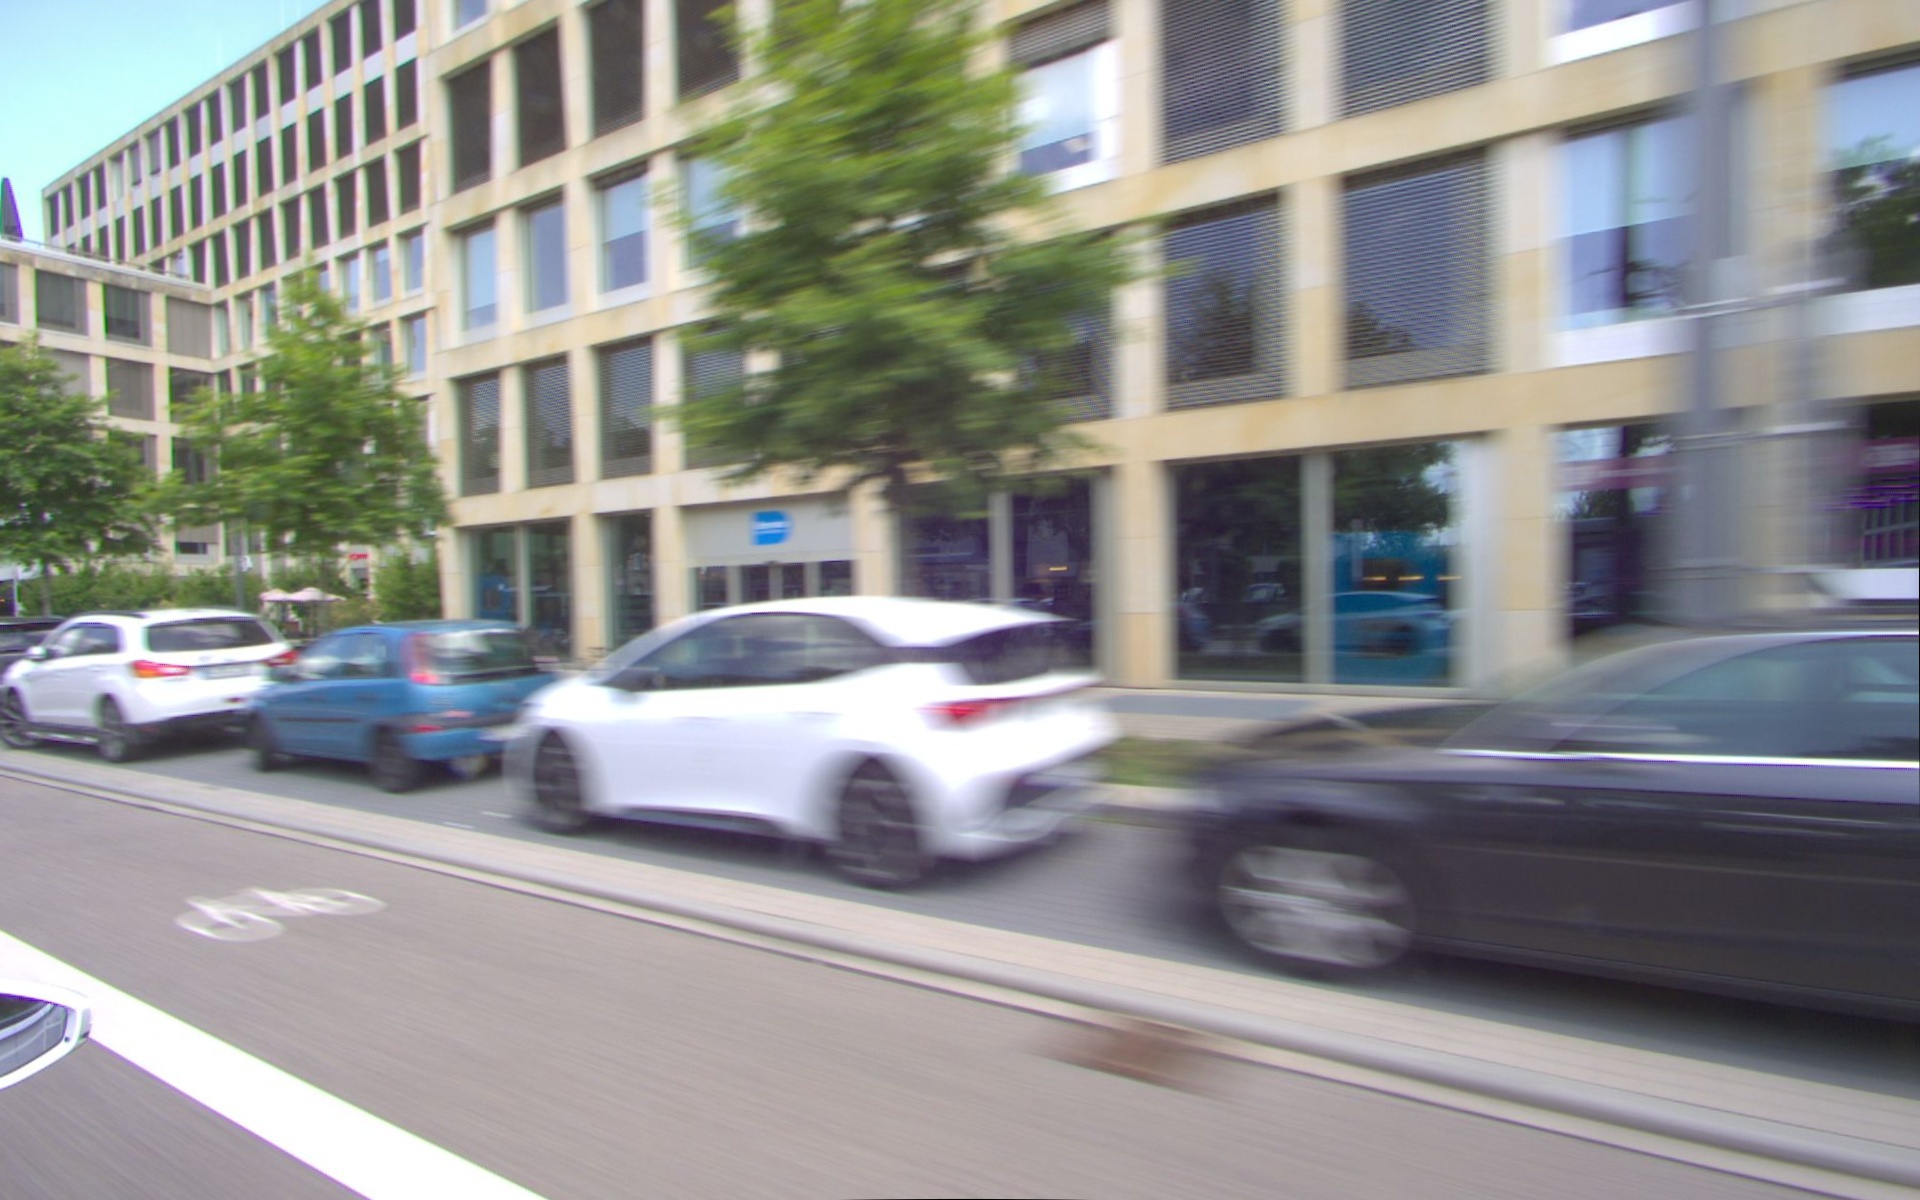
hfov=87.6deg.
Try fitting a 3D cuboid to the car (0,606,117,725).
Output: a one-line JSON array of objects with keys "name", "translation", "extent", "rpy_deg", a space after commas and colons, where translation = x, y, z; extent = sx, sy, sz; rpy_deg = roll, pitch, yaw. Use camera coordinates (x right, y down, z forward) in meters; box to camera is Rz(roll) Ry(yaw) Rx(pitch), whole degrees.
[{"name": "car", "translation": [-14.521, 0.930, 15.063], "extent": [3.870, 1.569, 1.681], "rpy_deg": [-1, 2, 32]}]

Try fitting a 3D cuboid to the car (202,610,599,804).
[{"name": "car", "translation": [-5.499, 0.888, 9.732], "extent": [3.894, 1.477, 1.681], "rpy_deg": [-1, 2, 32]}]

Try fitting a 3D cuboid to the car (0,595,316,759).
[{"name": "car", "translation": [-9.657, 0.811, 11.976], "extent": [4.092, 1.628, 1.681], "rpy_deg": [-1, 2, 32]}]

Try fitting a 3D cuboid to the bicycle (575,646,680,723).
[{"name": "bicycle", "translation": [-4.311, 1.083, 13.057], "extent": [0.267, 0.887, 1.379], "rpy_deg": [-4, -1, 34]}]

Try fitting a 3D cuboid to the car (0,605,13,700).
[{"name": "car", "translation": [-18.900, 0.984, 17.942], "extent": [3.931, 1.656, 1.682], "rpy_deg": [-1, 3, 30]}]

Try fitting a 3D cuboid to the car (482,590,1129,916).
[{"name": "car", "translation": [-1.133, 0.765, 6.709], "extent": [4.099, 1.550, 1.788], "rpy_deg": [-1, 2, 32]}]

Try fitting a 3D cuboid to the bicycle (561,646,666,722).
[{"name": "bicycle", "translation": [-4.555, 1.087, 13.235], "extent": [0.267, 0.887, 1.379], "rpy_deg": [-4, -1, 34]}]

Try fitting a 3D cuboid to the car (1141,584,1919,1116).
[{"name": "car", "translation": [3.147, 0.714, 3.730], "extent": [4.498, 1.507, 1.877], "rpy_deg": [-1, 1, 32]}]
